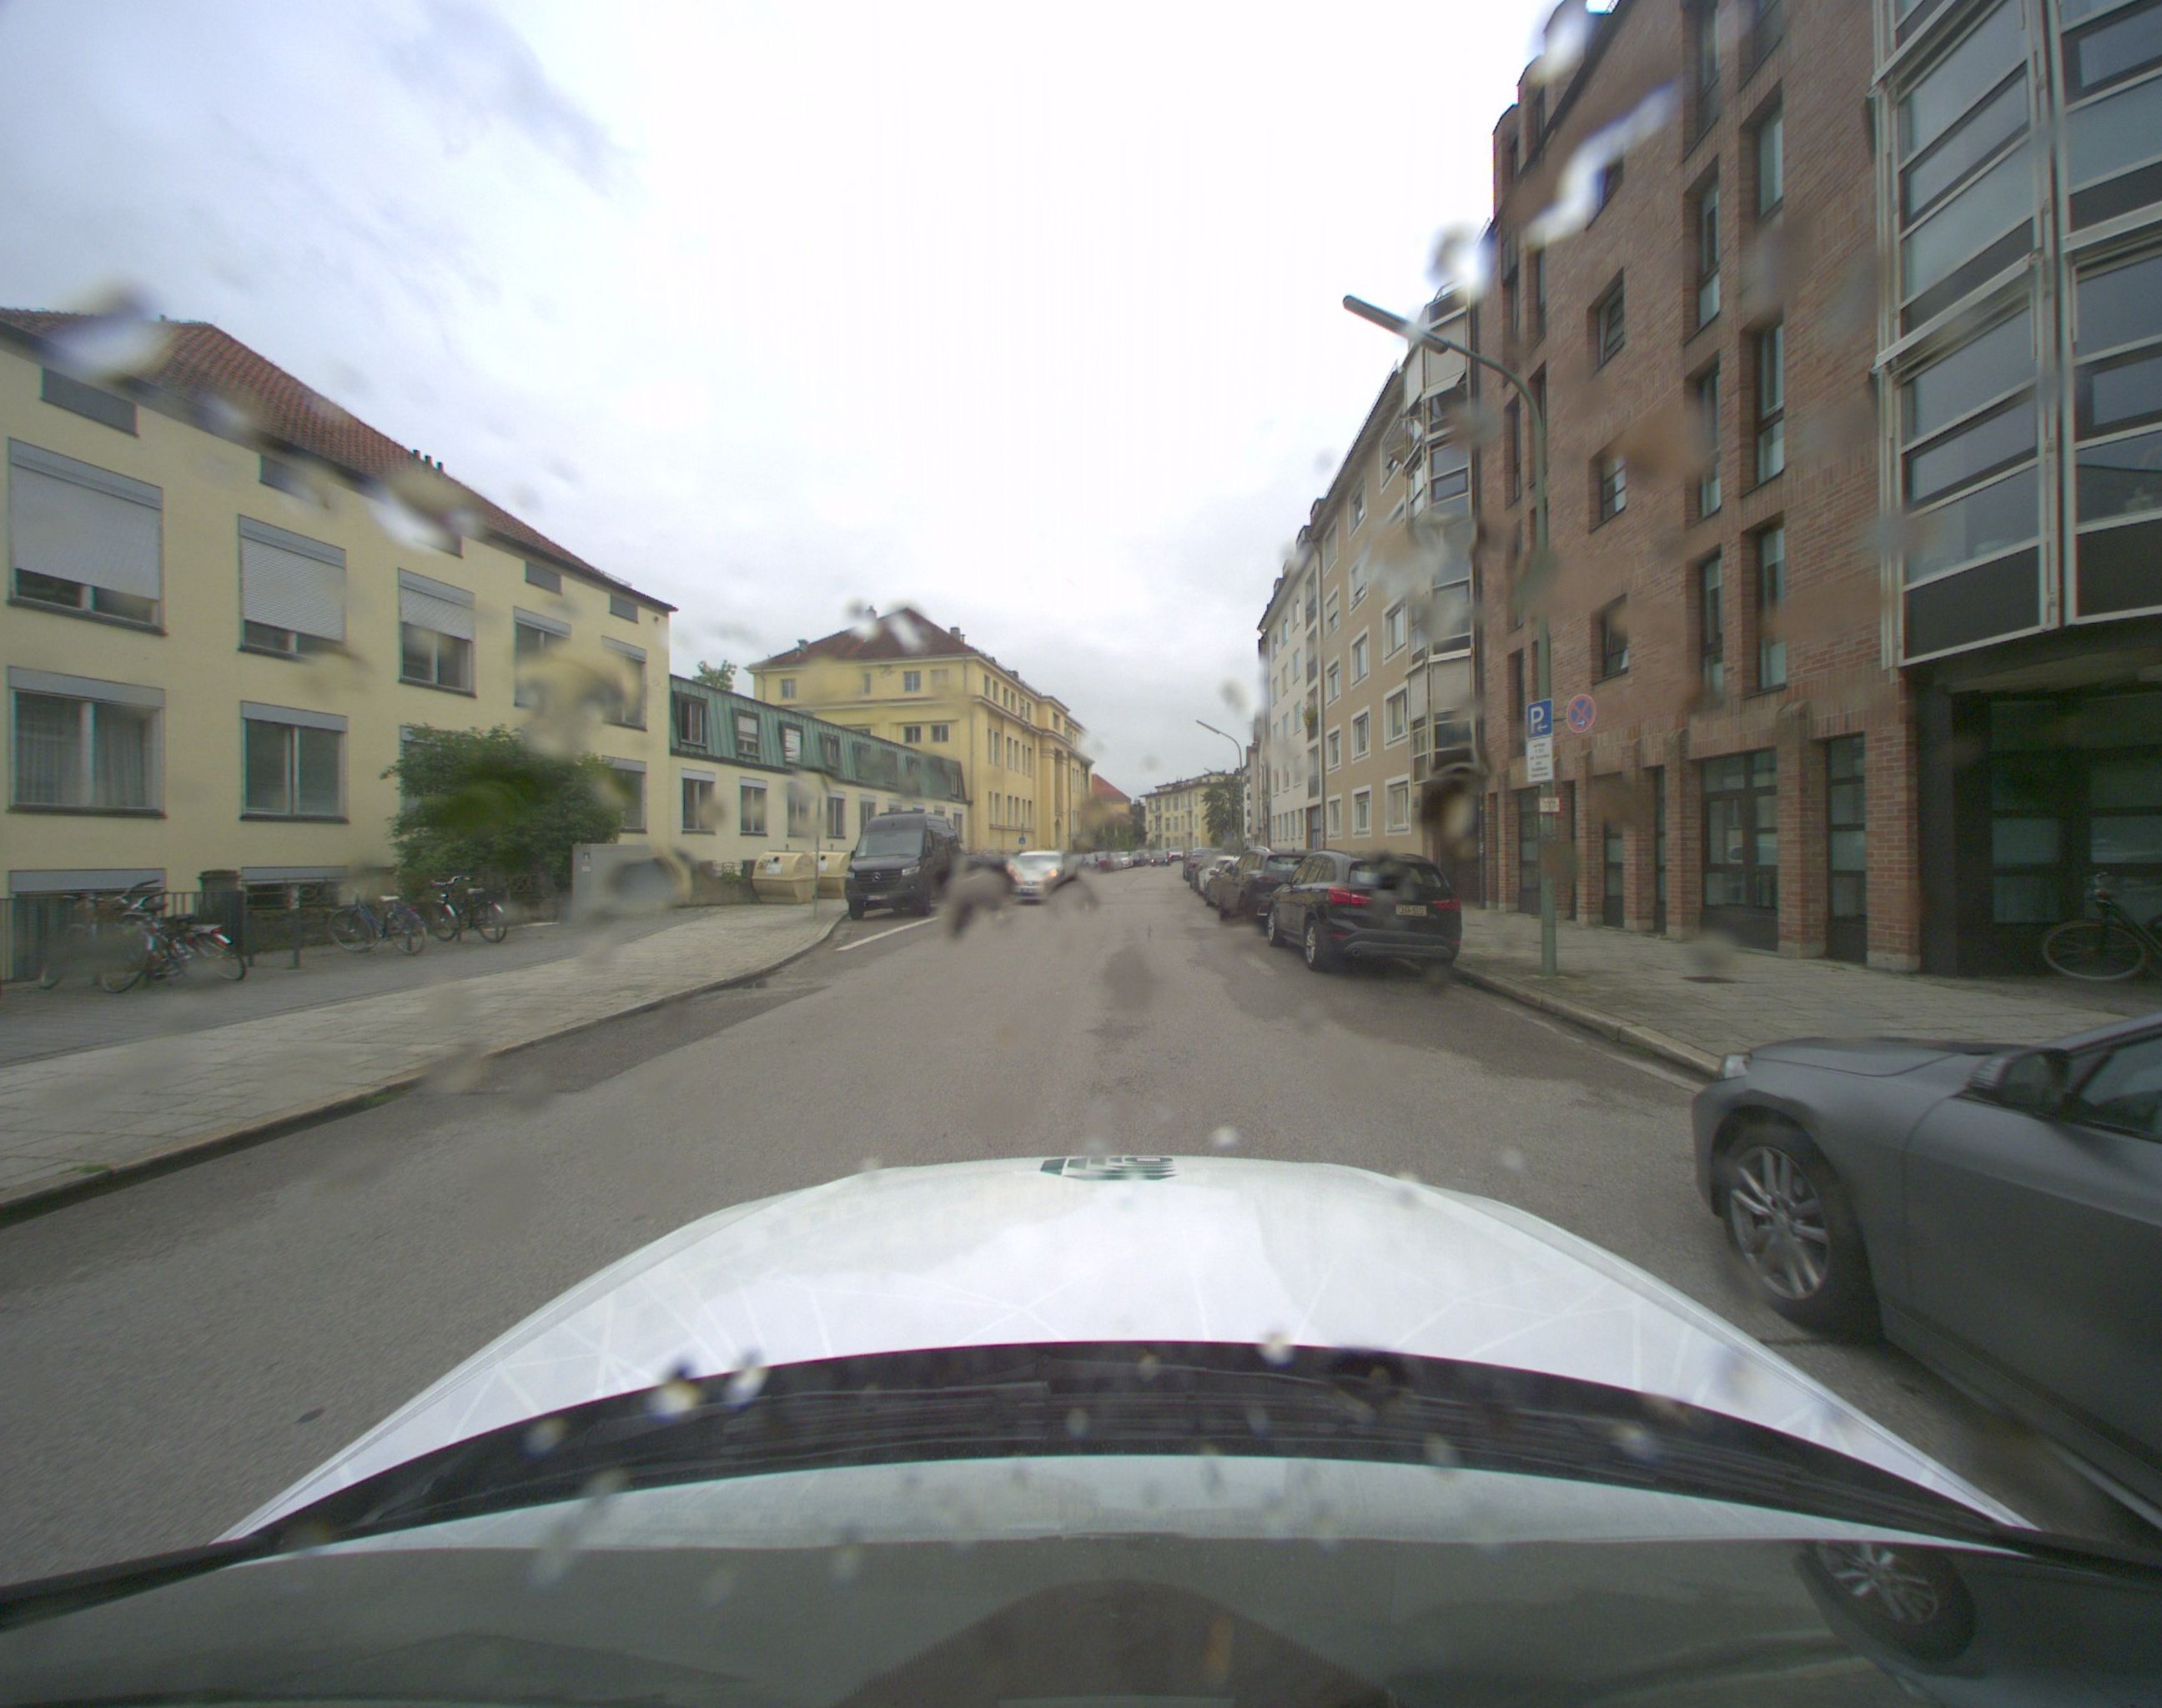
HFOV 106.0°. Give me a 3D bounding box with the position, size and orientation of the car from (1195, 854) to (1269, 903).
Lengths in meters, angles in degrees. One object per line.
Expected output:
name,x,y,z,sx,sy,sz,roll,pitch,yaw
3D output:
car,4.979,0.751,27.452,1.879,1.475,4.748,1,0,3

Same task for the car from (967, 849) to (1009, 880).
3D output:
car,-5.393,0.586,47.314,1.595,1.660,2.817,1,1,11

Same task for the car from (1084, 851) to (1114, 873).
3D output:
car,1.298,0.546,58.238,1.688,1.444,3.517,1,1,9

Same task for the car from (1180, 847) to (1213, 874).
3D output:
car,7.401,0.387,52.520,1.878,1.630,4.437,1,0,5

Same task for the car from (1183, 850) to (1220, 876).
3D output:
car,6.956,0.493,47.384,1.878,1.410,4.437,1,0,5

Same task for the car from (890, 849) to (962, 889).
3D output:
car,-7.284,0.646,38.741,1.981,1.686,4.013,1,1,11

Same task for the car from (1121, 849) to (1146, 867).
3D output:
car,4.962,0.336,76.679,1.982,1.548,4.010,1,1,8

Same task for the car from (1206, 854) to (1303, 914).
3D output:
car,4.534,0.737,21.887,1.879,1.322,4.278,1,1,3

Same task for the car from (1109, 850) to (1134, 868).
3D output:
car,3.567,0.433,71.310,1.687,1.444,3.518,1,1,9

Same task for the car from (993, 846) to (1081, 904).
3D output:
car,-1.281,0.656,26.006,2.015,1.621,4.513,-2,-1,6

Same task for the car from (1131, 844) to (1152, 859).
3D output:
car,6.441,-0.289,86.272,1.982,1.548,4.010,1,1,8

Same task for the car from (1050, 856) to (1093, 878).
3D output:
car,-0.542,0.742,49.050,1.888,1.147,4.241,1,1,9

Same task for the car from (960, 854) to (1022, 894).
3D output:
car,-3.645,0.762,33.592,1.690,1.453,3.749,1,1,7

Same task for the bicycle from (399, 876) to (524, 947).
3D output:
bicycle,-10.624,0.962,13.970,1.890,1.092,0.680,1,1,15

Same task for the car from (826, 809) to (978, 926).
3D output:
car,-4.643,0.351,22.322,2.411,2.715,5.959,-2,-1,4

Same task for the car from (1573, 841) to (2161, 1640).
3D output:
car,3.014,0.752,1.460,1.916,1.512,4.398,1,0,5

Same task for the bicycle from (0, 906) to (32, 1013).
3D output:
bicycle,-11.684,1.052,8.296,1.853,1.029,0.542,1,1,15

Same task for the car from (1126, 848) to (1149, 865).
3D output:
car,5.653,0.266,81.488,1.982,1.548,4.010,1,1,8

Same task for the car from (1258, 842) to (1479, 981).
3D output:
car,3.919,0.661,11.938,1.823,1.601,4.268,1,1,2

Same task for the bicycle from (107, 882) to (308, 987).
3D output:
bicycle,-11.038,0.978,10.291,2.468,1.140,0.639,1,1,15

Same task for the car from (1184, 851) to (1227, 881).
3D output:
car,6.363,0.585,41.880,1.878,1.410,4.437,1,0,5

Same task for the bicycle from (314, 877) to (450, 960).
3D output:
bicycle,-10.652,0.962,12.415,1.942,1.131,0.575,1,1,15

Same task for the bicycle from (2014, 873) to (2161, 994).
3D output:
bicycle,9.944,0.730,7.511,0.484,1.060,1.997,1,0,3

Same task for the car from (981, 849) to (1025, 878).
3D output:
car,-4.804,0.534,50.607,1.708,1.660,3.760,1,1,11

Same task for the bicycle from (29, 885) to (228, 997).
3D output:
bicycle,-11.210,0.989,9.580,2.293,1.135,0.584,1,1,15

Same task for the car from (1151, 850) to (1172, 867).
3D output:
car,7.365,0.428,74.573,1.688,1.444,3.517,1,1,9

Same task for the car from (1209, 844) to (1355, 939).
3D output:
car,3.915,0.636,16.723,1.957,1.601,4.674,1,1,2

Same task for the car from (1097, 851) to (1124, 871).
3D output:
car,2.336,0.501,64.034,1.687,1.444,3.518,1,1,9

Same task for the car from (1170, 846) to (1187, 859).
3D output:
car,11.164,-0.165,93.097,1.688,1.444,3.517,1,1,9

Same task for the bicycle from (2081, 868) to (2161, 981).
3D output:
bicycle,10.545,0.695,7.419,0.484,1.060,1.997,1,1,3

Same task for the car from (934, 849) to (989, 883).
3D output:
car,-6.281,0.602,43.236,1.708,1.660,3.760,1,1,11

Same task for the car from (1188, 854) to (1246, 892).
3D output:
car,5.494,0.723,33.311,1.879,1.410,4.435,1,0,3
